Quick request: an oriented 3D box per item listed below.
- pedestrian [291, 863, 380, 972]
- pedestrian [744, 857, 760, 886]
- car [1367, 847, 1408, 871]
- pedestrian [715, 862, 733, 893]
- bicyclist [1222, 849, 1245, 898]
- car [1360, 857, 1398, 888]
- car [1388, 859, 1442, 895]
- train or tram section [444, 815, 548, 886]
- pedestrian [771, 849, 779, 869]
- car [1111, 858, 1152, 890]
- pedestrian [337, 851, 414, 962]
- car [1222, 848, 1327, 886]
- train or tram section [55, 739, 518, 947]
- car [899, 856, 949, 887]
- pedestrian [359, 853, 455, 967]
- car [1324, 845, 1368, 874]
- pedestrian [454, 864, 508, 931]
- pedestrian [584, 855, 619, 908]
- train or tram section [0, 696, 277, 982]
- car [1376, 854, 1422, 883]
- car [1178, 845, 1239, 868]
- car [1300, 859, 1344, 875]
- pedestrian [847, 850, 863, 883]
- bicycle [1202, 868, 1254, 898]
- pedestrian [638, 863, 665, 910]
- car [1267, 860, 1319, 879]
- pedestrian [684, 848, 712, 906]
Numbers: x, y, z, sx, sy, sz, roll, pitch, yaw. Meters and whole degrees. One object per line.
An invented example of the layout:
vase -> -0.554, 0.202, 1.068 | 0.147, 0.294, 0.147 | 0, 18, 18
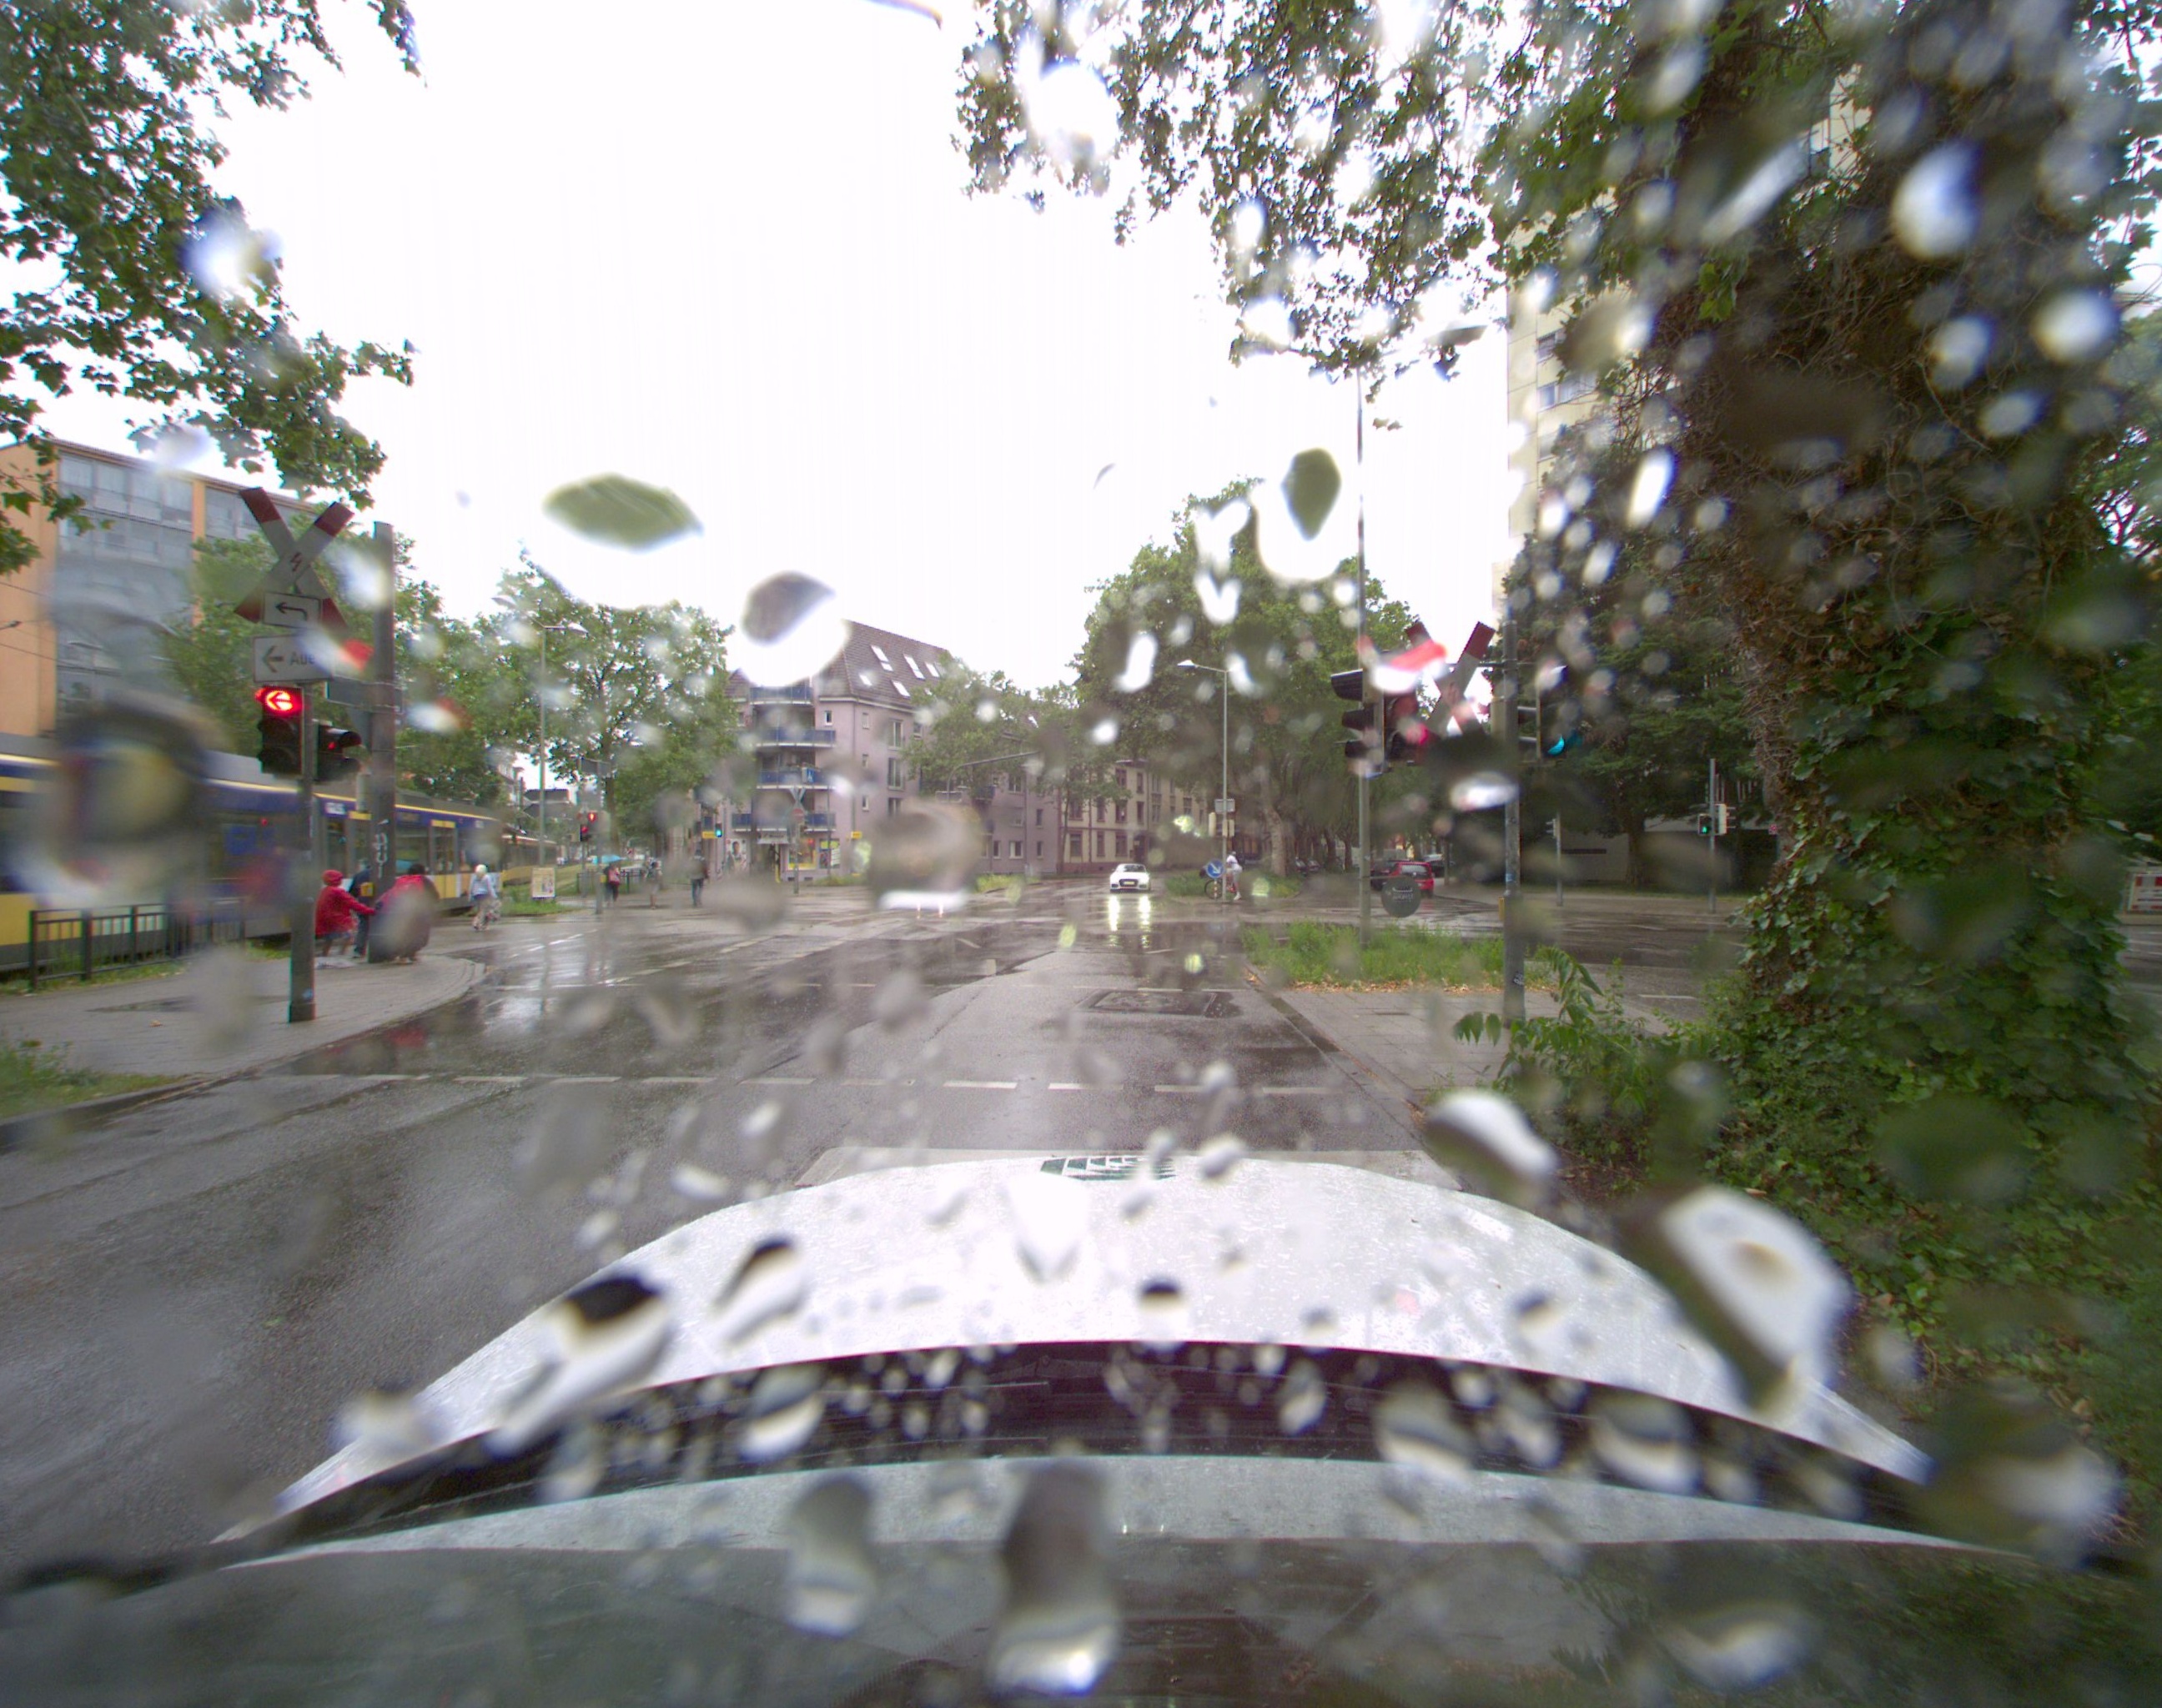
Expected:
pedestrian -> -10.771, 0.896, 11.793 | 0.681, 1.520, 0.658 | -1, 0, -7
pedestrian -> -17.547, 0.942, 43.391 | 0.753, 1.533, 0.785 | 0, -1, -25
car -> 38.984, 0.641, 103.570 | 2.006, 2.948, 4.726 | 0, -1, -29
pedestrian -> -18.974, 1.245, 43.298 | 0.674, 1.600, 0.963 | 0, -1, -14
bicyclist -> 5.686, 0.715, 30.368 | 0.790, 1.786, 0.699 | -1, -1, 9
car -> 17.320, 1.064, 47.428 | 1.769, 1.727, 4.017 | -1, -1, 16
car -> 14.821, 0.982, 36.336 | 1.778, 1.498, 4.017 | 0, 0, 16
train or tram section -> -36.333, -0.094, 51.323 | 2.897, 3.768, 17.089 | 0, -1, -28
pedestrian -> -20.655, 0.329, 55.031 | 0.445, 1.329, 0.558 | 0, -1, -15
car -> 2.430, 0.937, 39.171 | 1.876, 1.436, 4.004 | 0, 0, 4
pedestrian -> -11.541, 0.825, 13.333 | 0.844, 1.698, 0.680 | -4, 3, -42
car -> 7.748, 0.519, 32.665 | 3.958, 1.486, 2.008 | -1, -1, 14
train or tram section -> -18.308, -0.165, 20.785 | 2.869, 3.545, 13.628 | 0, 0, -19
car -> -8.012, 0.855, 41.843 | 1.745, 1.512, 3.839 | 0, 0, 1
pedestrian -> -10.094, 0.812, 12.227 | 0.728, 1.624, 0.816 | -1, 1, -5
car -> 28.318, 0.588, 87.219 | 2.040, 2.948, 4.742 | 0, -1, -18
pedestrian -> -12.547, 0.900, 17.046 | 0.657, 1.349, 0.706 | 0, 0, -12
pedestrian -> -16.218, 0.920, 27.546 | 0.962, 1.766, 0.944 | 0, -1, -28
train or tram section -> -14.043, -0.194, 7.078 | 2.865, 3.545, 15.292 | 0, 0, -15
car -> 15.890, 0.697, 40.872 | 1.770, 1.348, 3.945 | 0, 1, 16
car -> 8.537, 0.192, 54.557 | 3.838, 1.486, 1.723 | -1, -1, 14
car -> 23.132, 1.254, 78.262 | 3.958, 1.547, 2.008 | -1, -1, 14
pedestrian -> -14.668, 0.816, 52.850 | 0.913, 2.151, 0.880 | 0, -1, -25
bicycle -> 5.478, 1.070, 30.396 | 1.862, 1.081, 0.658 | -1, -1, 9
pedestrian -> -13.100, 0.985, 24.844 | 0.653, 1.396, 0.774 | 0, 0, -33
car -> 16.939, 1.231, 65.227 | 3.958, 1.486, 2.008 | -1, -1, 14
pedestrian -> -12.454, 0.721, 26.491 | 0.791, 1.855, 0.676 | 0, 0, -22
